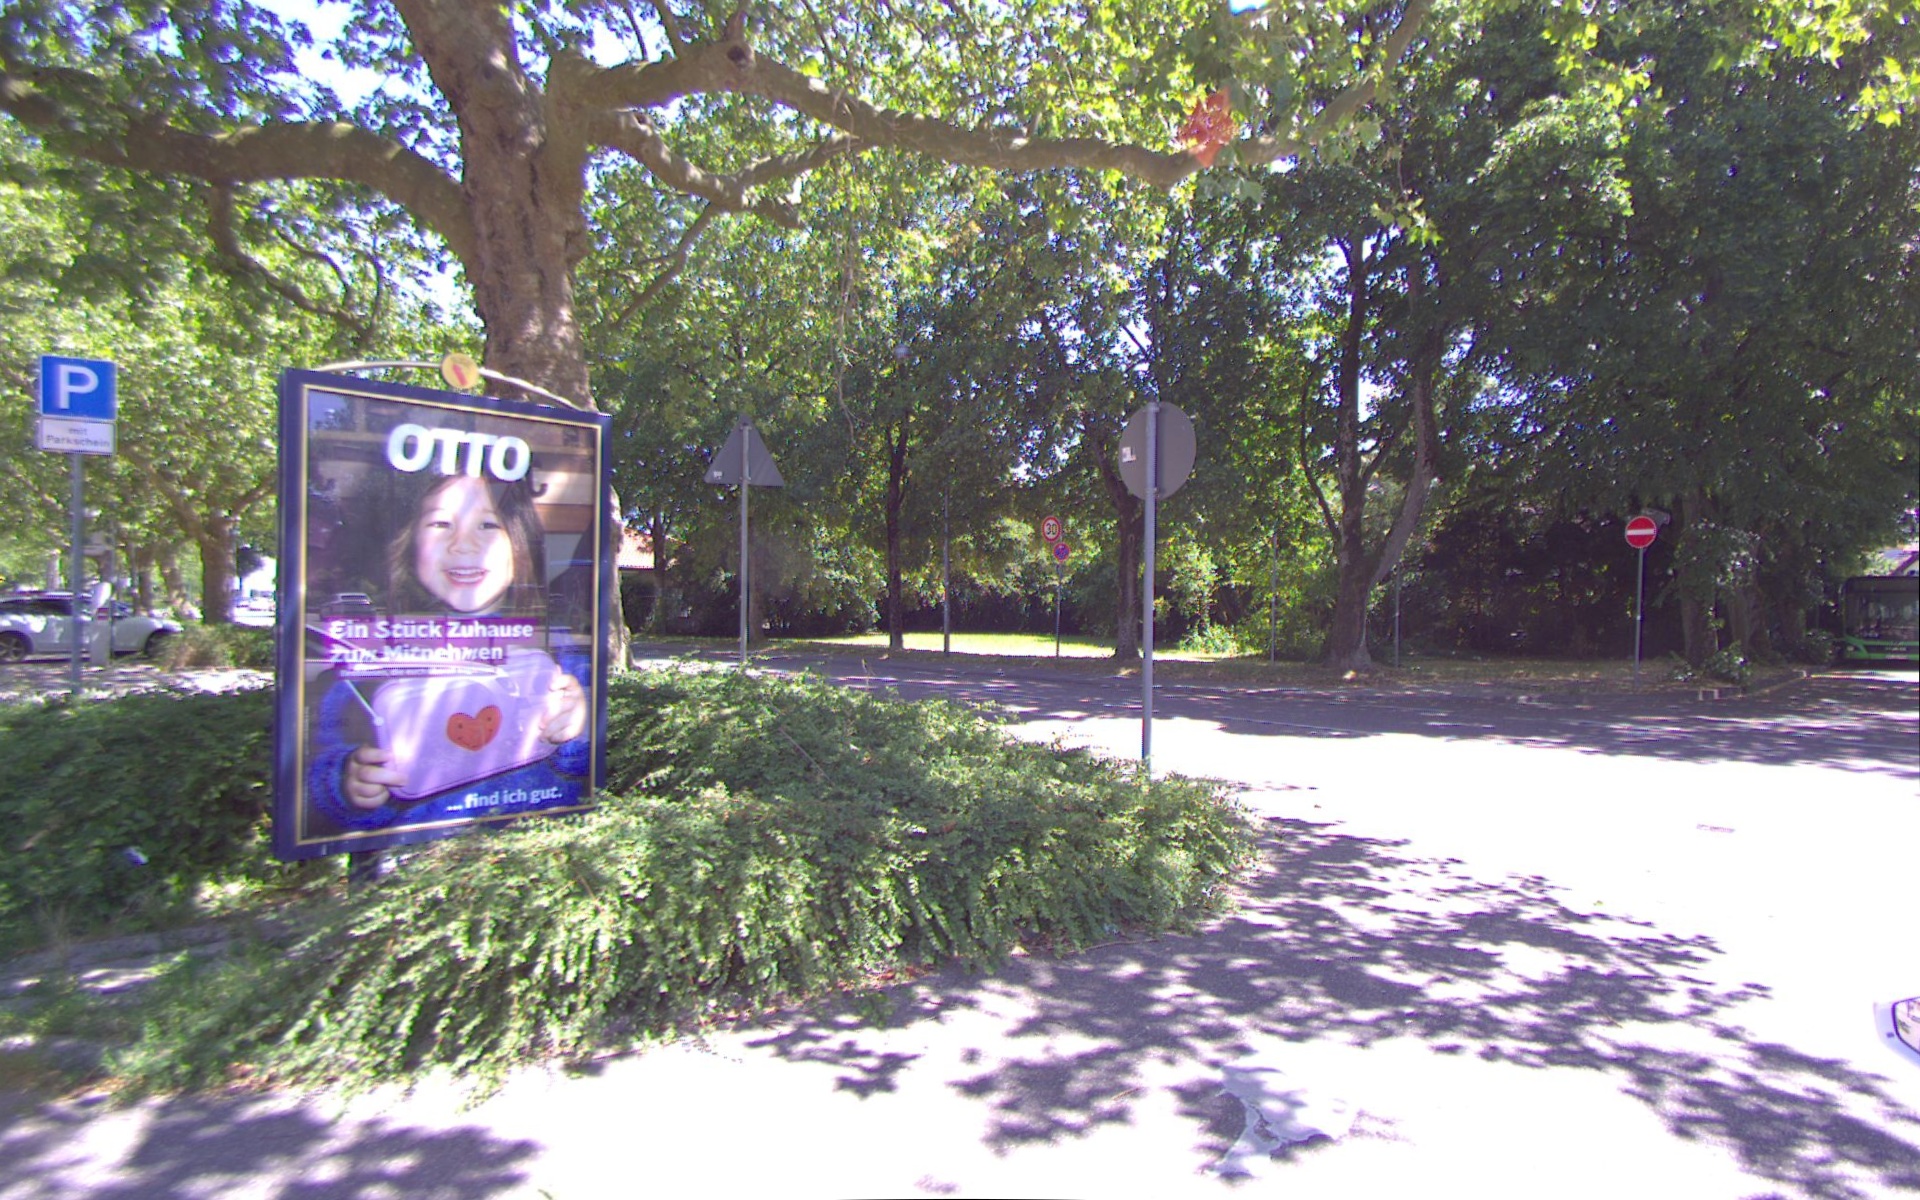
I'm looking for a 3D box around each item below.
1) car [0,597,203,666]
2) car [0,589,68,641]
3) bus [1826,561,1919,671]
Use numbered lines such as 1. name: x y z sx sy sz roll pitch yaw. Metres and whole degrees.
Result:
1. car: -20.059 0.659 22.425 1.753 1.436 4.773 1 0 26
2. car: -27.903 0.409 28.297 1.604 1.479 3.877 1 0 18
3. bus: 34.359 0.605 36.684 15.845 3.339 2.839 1 -1 -45
